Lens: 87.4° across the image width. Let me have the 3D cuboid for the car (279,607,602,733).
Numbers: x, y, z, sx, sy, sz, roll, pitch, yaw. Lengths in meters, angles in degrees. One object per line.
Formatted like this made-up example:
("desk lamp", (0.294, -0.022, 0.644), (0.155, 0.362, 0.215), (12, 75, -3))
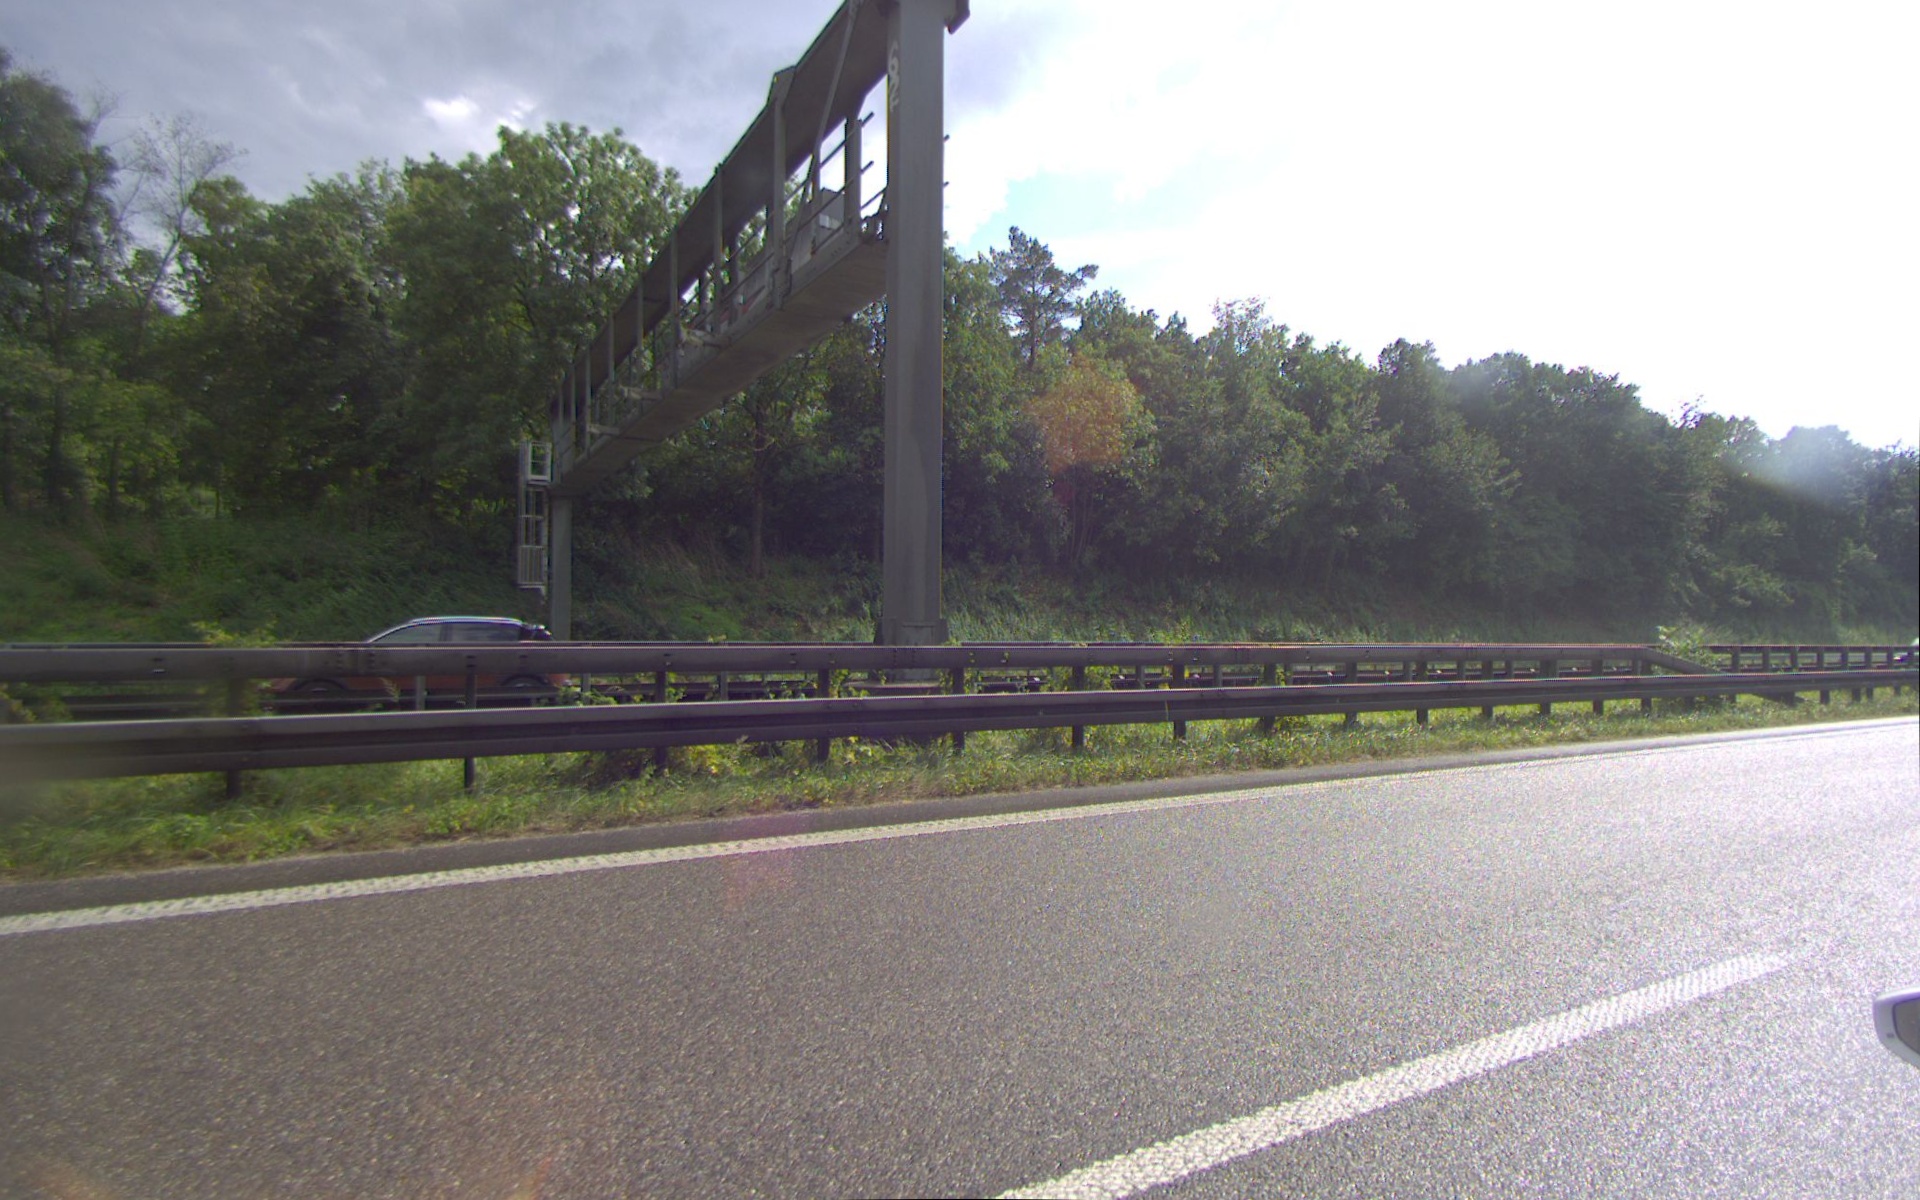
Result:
("car", (-7.913, 1.022, 15.549), (4.187, 1.685, 1.845), (2, 0, -31))

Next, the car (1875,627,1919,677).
("car", (34.453, 1.846, 35.666), (4.065, 1.685, 1.758), (2, 0, -31))
